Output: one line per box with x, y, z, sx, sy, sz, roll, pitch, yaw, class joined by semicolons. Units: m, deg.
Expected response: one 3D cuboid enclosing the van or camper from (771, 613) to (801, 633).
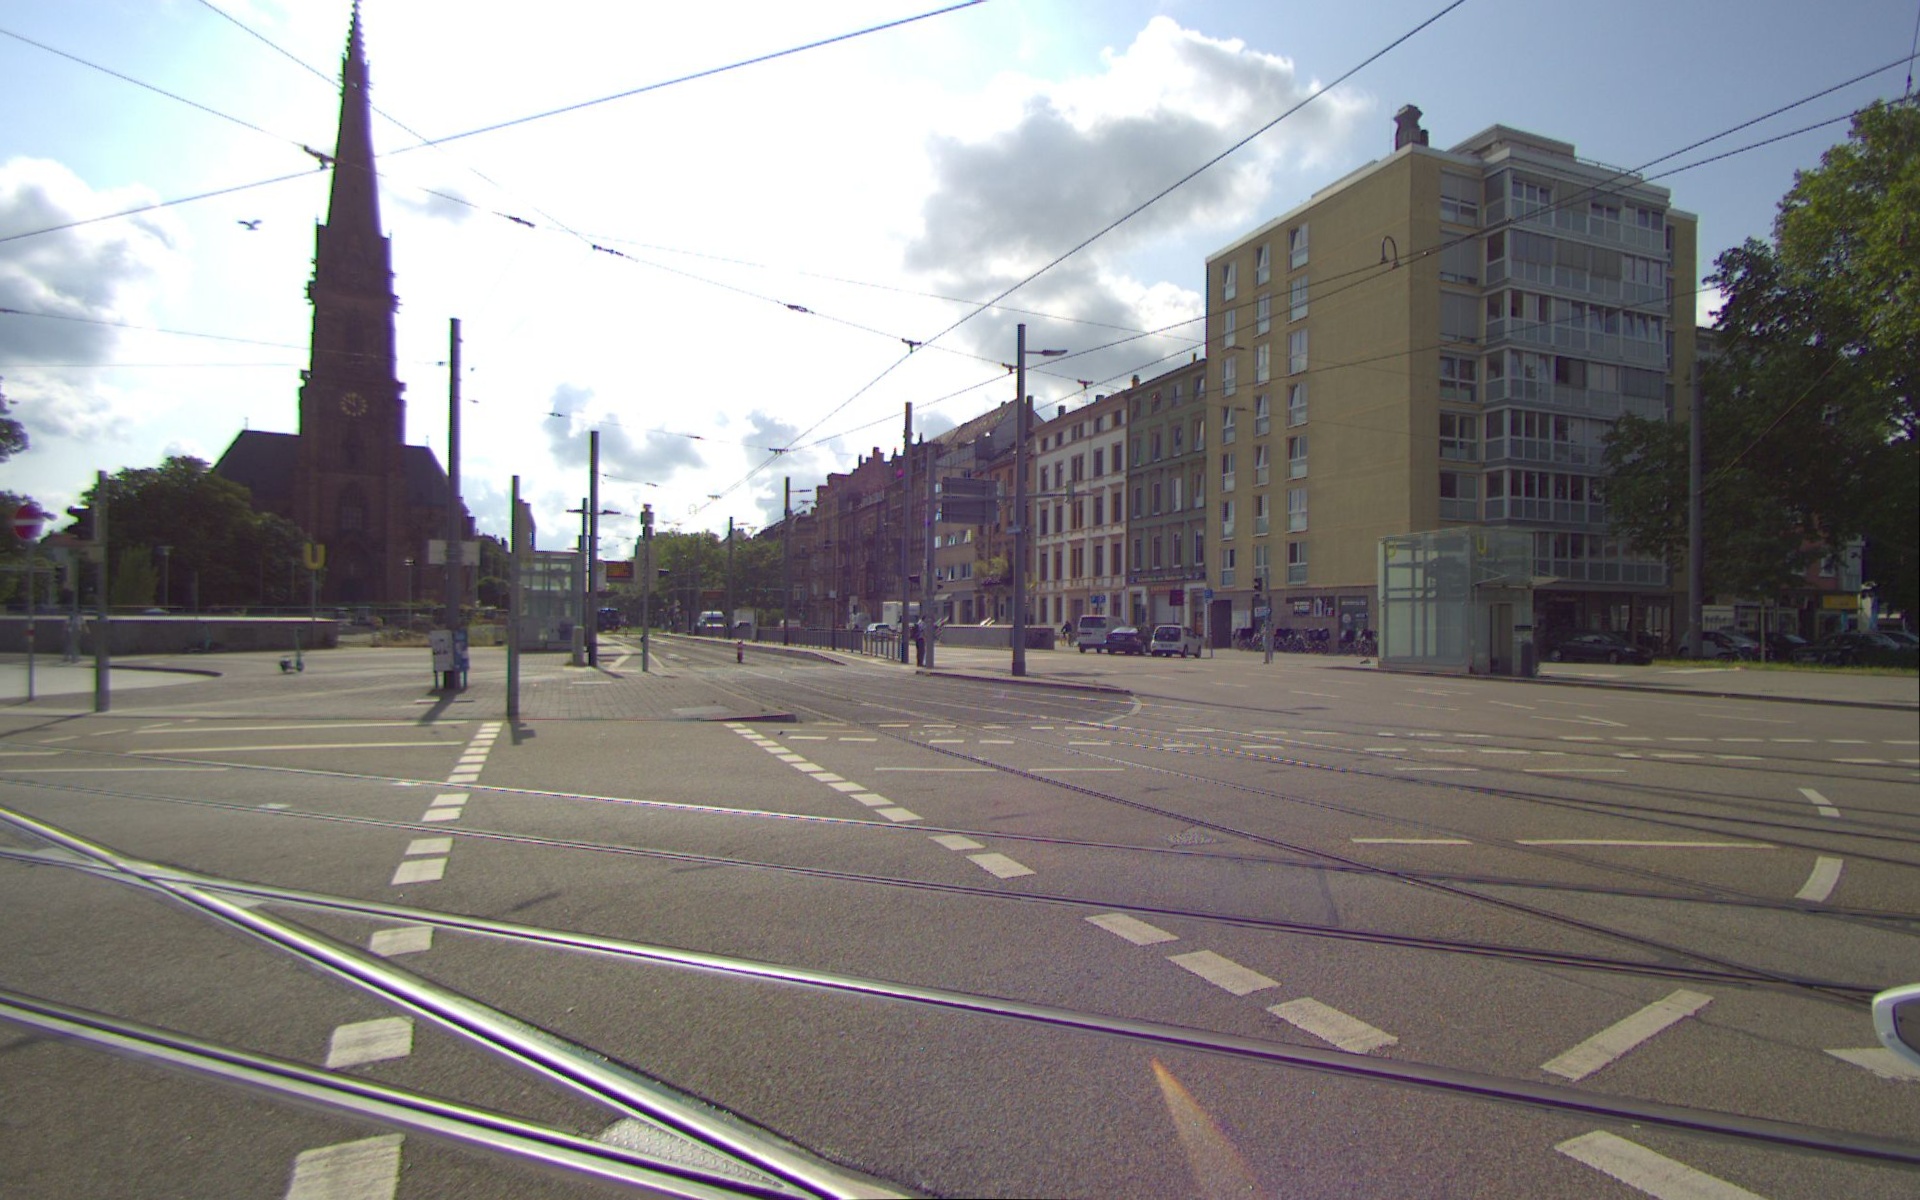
-18.305;2.402;105.654;1.989;1.939;4.494;2;-2;-25;van or camper

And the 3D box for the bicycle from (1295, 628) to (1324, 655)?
17.487;2.069;50.259;0.480;1.218;1.639;0;3;-17;bicycle

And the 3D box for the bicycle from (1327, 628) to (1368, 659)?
18.108;2.009;46.950;0.482;1.289;1.875;-1;4;-29;bicycle

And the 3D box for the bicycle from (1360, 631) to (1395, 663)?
18.833;2.124;45.352;0.523;1.289;1.639;0;3;-17;bicycle

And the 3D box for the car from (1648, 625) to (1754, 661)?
35.363;2.039;48.018;1.971;1.550;3.555;2;-1;-22;car

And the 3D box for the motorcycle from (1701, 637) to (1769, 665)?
28.382;1.857;36.797;1.859;0.915;0.604;1;1;25;motorcycle

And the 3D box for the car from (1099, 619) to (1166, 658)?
8.623;1.844;49.787;1.856;1.488;5.057;3;3;26;car

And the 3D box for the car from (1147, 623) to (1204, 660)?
10.153;1.896;47.209;1.688;1.460;3.507;3;2;27;car

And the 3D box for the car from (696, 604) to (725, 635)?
-24.429;1.864;98.110;1.971;2.657;5.549;-1;4;-22;car

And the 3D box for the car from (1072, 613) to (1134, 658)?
7.734;1.823;53.848;2.040;2.113;4.896;2;1;23;car

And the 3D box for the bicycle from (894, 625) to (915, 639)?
-4.549;2.597;82.369;1.745;1.100;0.369;0;5;-34;bicycle

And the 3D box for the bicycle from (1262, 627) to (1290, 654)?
16.317;2.073;51.933;0.480;1.218;1.639;0;3;-17;bicycle

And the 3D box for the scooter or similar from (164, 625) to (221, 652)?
-28.656;1.419;37.528;0.464;0.962;1.663;0;-1;23;scooter or similar

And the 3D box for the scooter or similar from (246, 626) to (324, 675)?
-17.691;1.315;26.382;1.318;1.205;1.488;2;-1;-20;scooter or similar

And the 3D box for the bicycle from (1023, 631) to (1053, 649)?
4.612;2.368;59.546;1.757;1.017;0.508;2;2;-30;bicycle

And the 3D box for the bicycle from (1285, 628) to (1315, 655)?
16.949;2.049;50.122;0.540;1.218;1.639;0;3;-17;bicycle

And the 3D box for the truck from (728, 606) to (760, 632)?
-28.773;2.539;133.569;3.133;3.329;7.263;1;-2;-21;truck

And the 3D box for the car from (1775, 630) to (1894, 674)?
34.224;1.999;39.327;3.939;1.439;1.788;0;4;-20;car

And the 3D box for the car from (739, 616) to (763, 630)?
-24.036;2.653;115.615;1.972;1.528;3.978;1;-1;-23;car

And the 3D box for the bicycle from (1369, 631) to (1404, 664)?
19.328;2.143;45.550;0.480;1.289;1.639;0;3;-17;bicycle

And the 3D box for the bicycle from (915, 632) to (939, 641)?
-2.562;2.796;77.165;1.738;0.594;0.637;2;3;28;bicycle

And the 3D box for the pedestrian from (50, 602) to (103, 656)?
-30.013;0.972;34.127;1.076;1.712;0.929;3;3;20;pedestrian

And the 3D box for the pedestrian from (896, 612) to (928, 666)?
-1.595;1.279;33.079;0.833;1.696;0.790;-1;3;-23;pedestrian

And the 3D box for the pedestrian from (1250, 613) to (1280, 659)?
12.064;1.415;39.764;0.775;1.783;0.989;0;-1;44;pedestrian

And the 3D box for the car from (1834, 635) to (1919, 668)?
49.078;2.734;53.428;1.640;1.615;3.605;2;-1;-18;car

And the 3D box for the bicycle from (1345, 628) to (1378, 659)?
18.727;2.026;46.866;0.480;1.289;1.639;0;3;-17;bicycle

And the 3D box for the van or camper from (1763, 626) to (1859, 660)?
66.761;3.308;78.968;2.347;2.501;5.894;2;-1;-3;van or camper

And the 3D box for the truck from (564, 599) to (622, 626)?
-52.323;1.813;143.283;7.304;3.697;2.471;0;-1;-2;truck

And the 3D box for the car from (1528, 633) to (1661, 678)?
26.780;2.312;42.558;1.972;1.606;4.367;2;0;-23;car

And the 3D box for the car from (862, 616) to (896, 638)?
-6.910;2.251;85.217;1.769;1.457;4.322;-4;4;-20;car

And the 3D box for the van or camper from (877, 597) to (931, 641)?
-5.063;1.623;88.925;2.680;3.376;7.602;0;3;-20;van or camper

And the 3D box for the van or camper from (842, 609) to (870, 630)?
-12.751;2.390;122.839;1.970;2.507;5.537;1;-1;-21;van or camper

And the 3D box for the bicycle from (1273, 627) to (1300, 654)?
16.877;2.090;51.937;0.480;1.218;1.639;0;3;-17;bicycle
